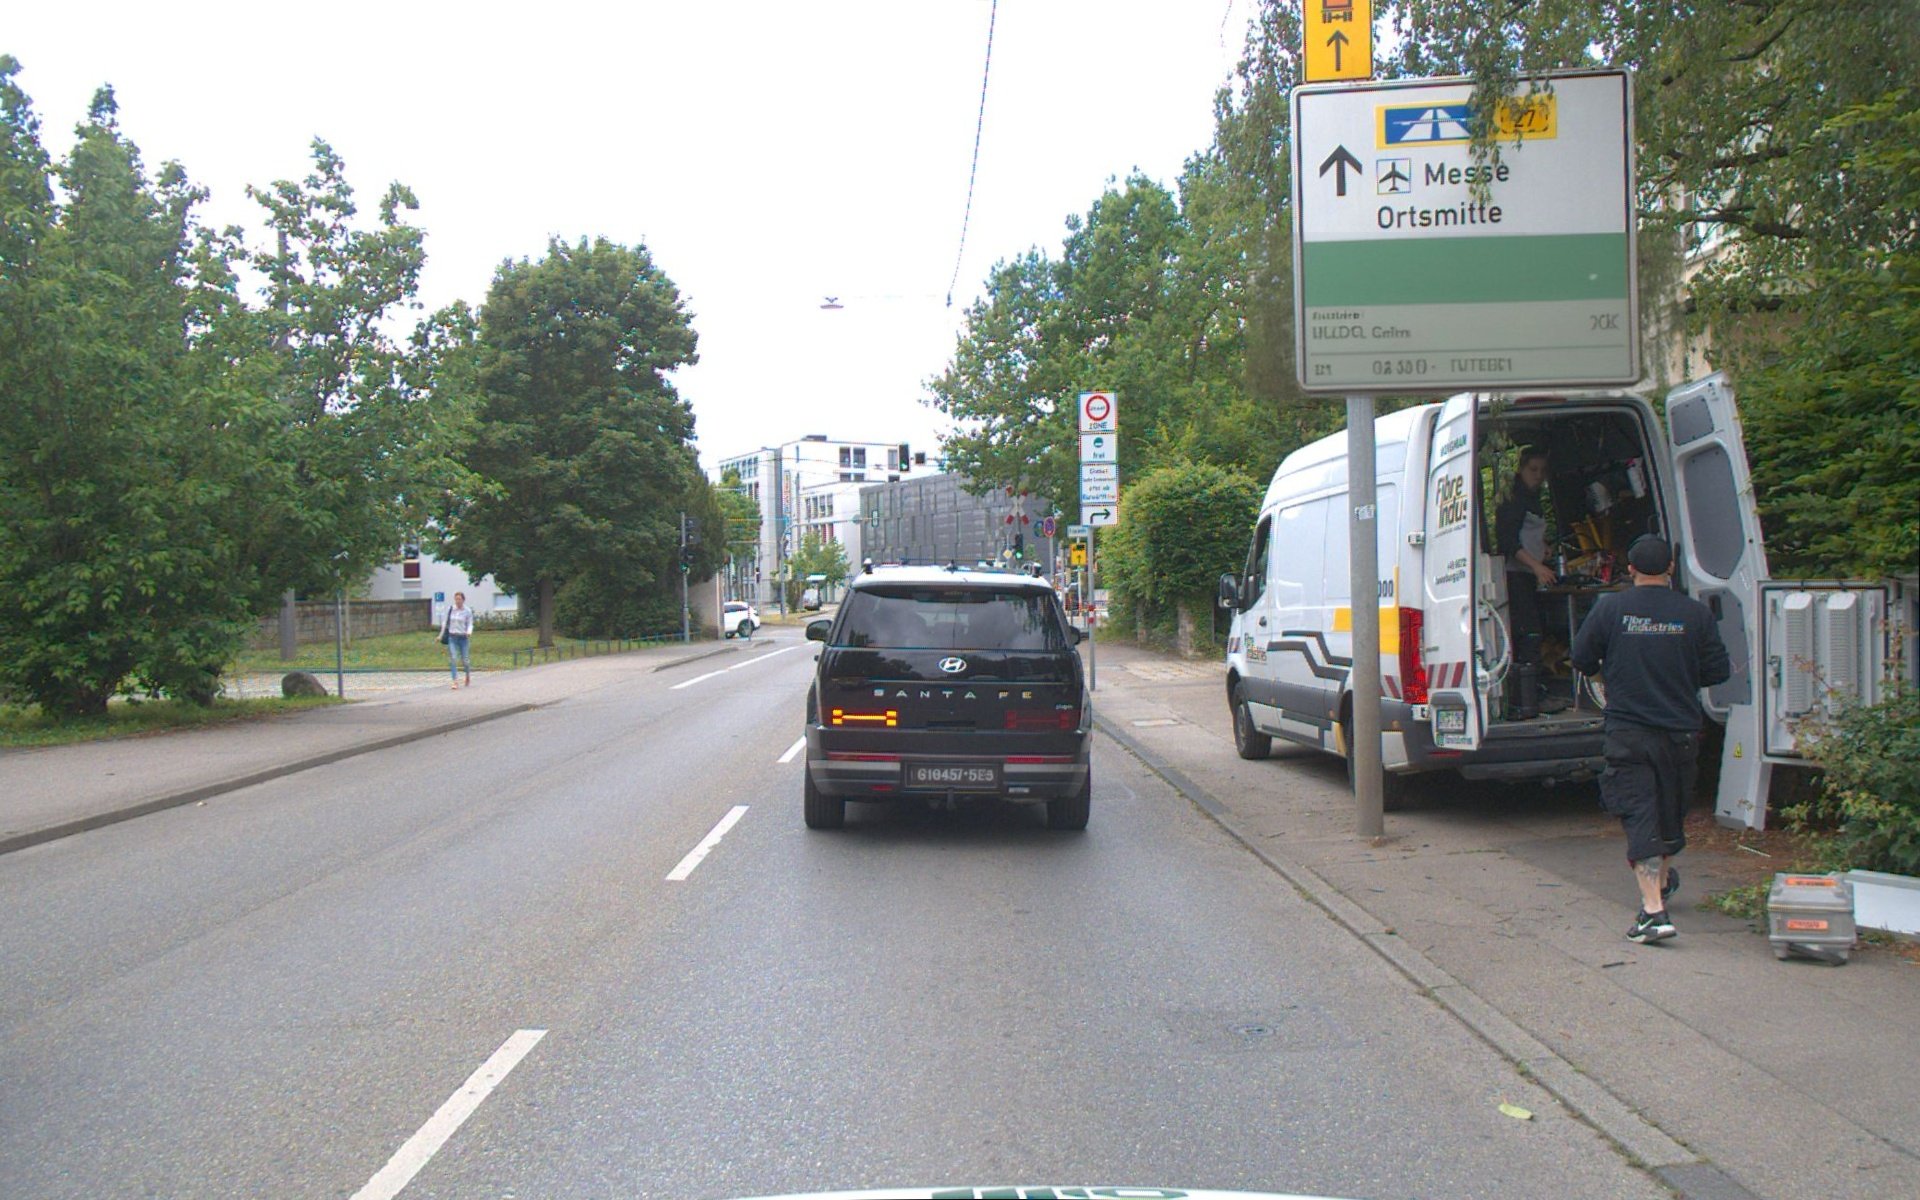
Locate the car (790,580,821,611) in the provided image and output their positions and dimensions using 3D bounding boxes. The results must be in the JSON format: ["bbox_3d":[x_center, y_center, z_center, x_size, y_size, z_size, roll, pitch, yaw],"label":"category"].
[{"bbox_3d":[-12.235,-0.326,130.787,2.288,2.356,4.951,-1,0,-6],"label":"car"}]

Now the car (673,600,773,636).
[{"bbox_3d":[-10.911,0.827,76.347,4.221,1.565,1.820,-1,0,-37],"label":"car"}]

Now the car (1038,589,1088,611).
[{"bbox_3d":[8.290,-0.006,133.366,3.904,1.611,1.890,-1,0,2],"label":"car"}]

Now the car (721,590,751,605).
[{"bbox_3d":[-28.517,-0.294,210.243,1.974,1.870,4.547,-1,0,-33],"label":"car"}]

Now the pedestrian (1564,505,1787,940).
[{"bbox_3d":[3.049,0.500,7.124,0.734,1.750,0.792,-3,1,19],"label":"pedestrian"}]

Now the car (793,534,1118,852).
[{"bbox_3d":[-0.046,0.555,11.718,1.858,1.807,3.993,2,0,-1],"label":"car"}]

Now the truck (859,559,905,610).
[{"bbox_3d":[-6.408,-1.232,133.772,3.048,3.926,9.607,-1,0,-6],"label":"truck"}]

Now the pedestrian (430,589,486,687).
[{"bbox_3d":[-9.273,0.700,30.589,0.751,1.779,0.904,0,0,-2],"label":"pedestrian"}]

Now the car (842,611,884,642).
[{"bbox_3d":[-4.844,1.286,81.853,1.847,1.445,3.994,-1,0,-6],"label":"car"}]

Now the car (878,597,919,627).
[{"bbox_3d":[-3.504,0.663,94.087,1.849,1.667,3.890,-1,0,-9],"label":"car"}]

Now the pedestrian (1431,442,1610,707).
[{"bbox_3d":[3.689,-0.164,10.920,0.727,1.672,0.795,-2,-1,-24],"label":"pedestrian"}]

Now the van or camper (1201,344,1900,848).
[{"bbox_3d":[3.658,0.017,12.157,2.294,2.538,6.598,-4,-1,-3],"label":"van or camper"}]

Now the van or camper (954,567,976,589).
[{"bbox_3d":[0.502,-2.102,159.350,1.760,2.033,3.820,2,0,-4],"label":"van or camper"}]

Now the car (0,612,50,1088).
[{"bbox_3d":[-3.812,0.819,2.865,1.778,1.444,4.827,-4,0,-1],"label":"car"}]

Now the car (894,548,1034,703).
[{"bbox_3d":[0.035,0.357,24.802,1.858,2.077,3.993,2,0,-1],"label":"car"}]
